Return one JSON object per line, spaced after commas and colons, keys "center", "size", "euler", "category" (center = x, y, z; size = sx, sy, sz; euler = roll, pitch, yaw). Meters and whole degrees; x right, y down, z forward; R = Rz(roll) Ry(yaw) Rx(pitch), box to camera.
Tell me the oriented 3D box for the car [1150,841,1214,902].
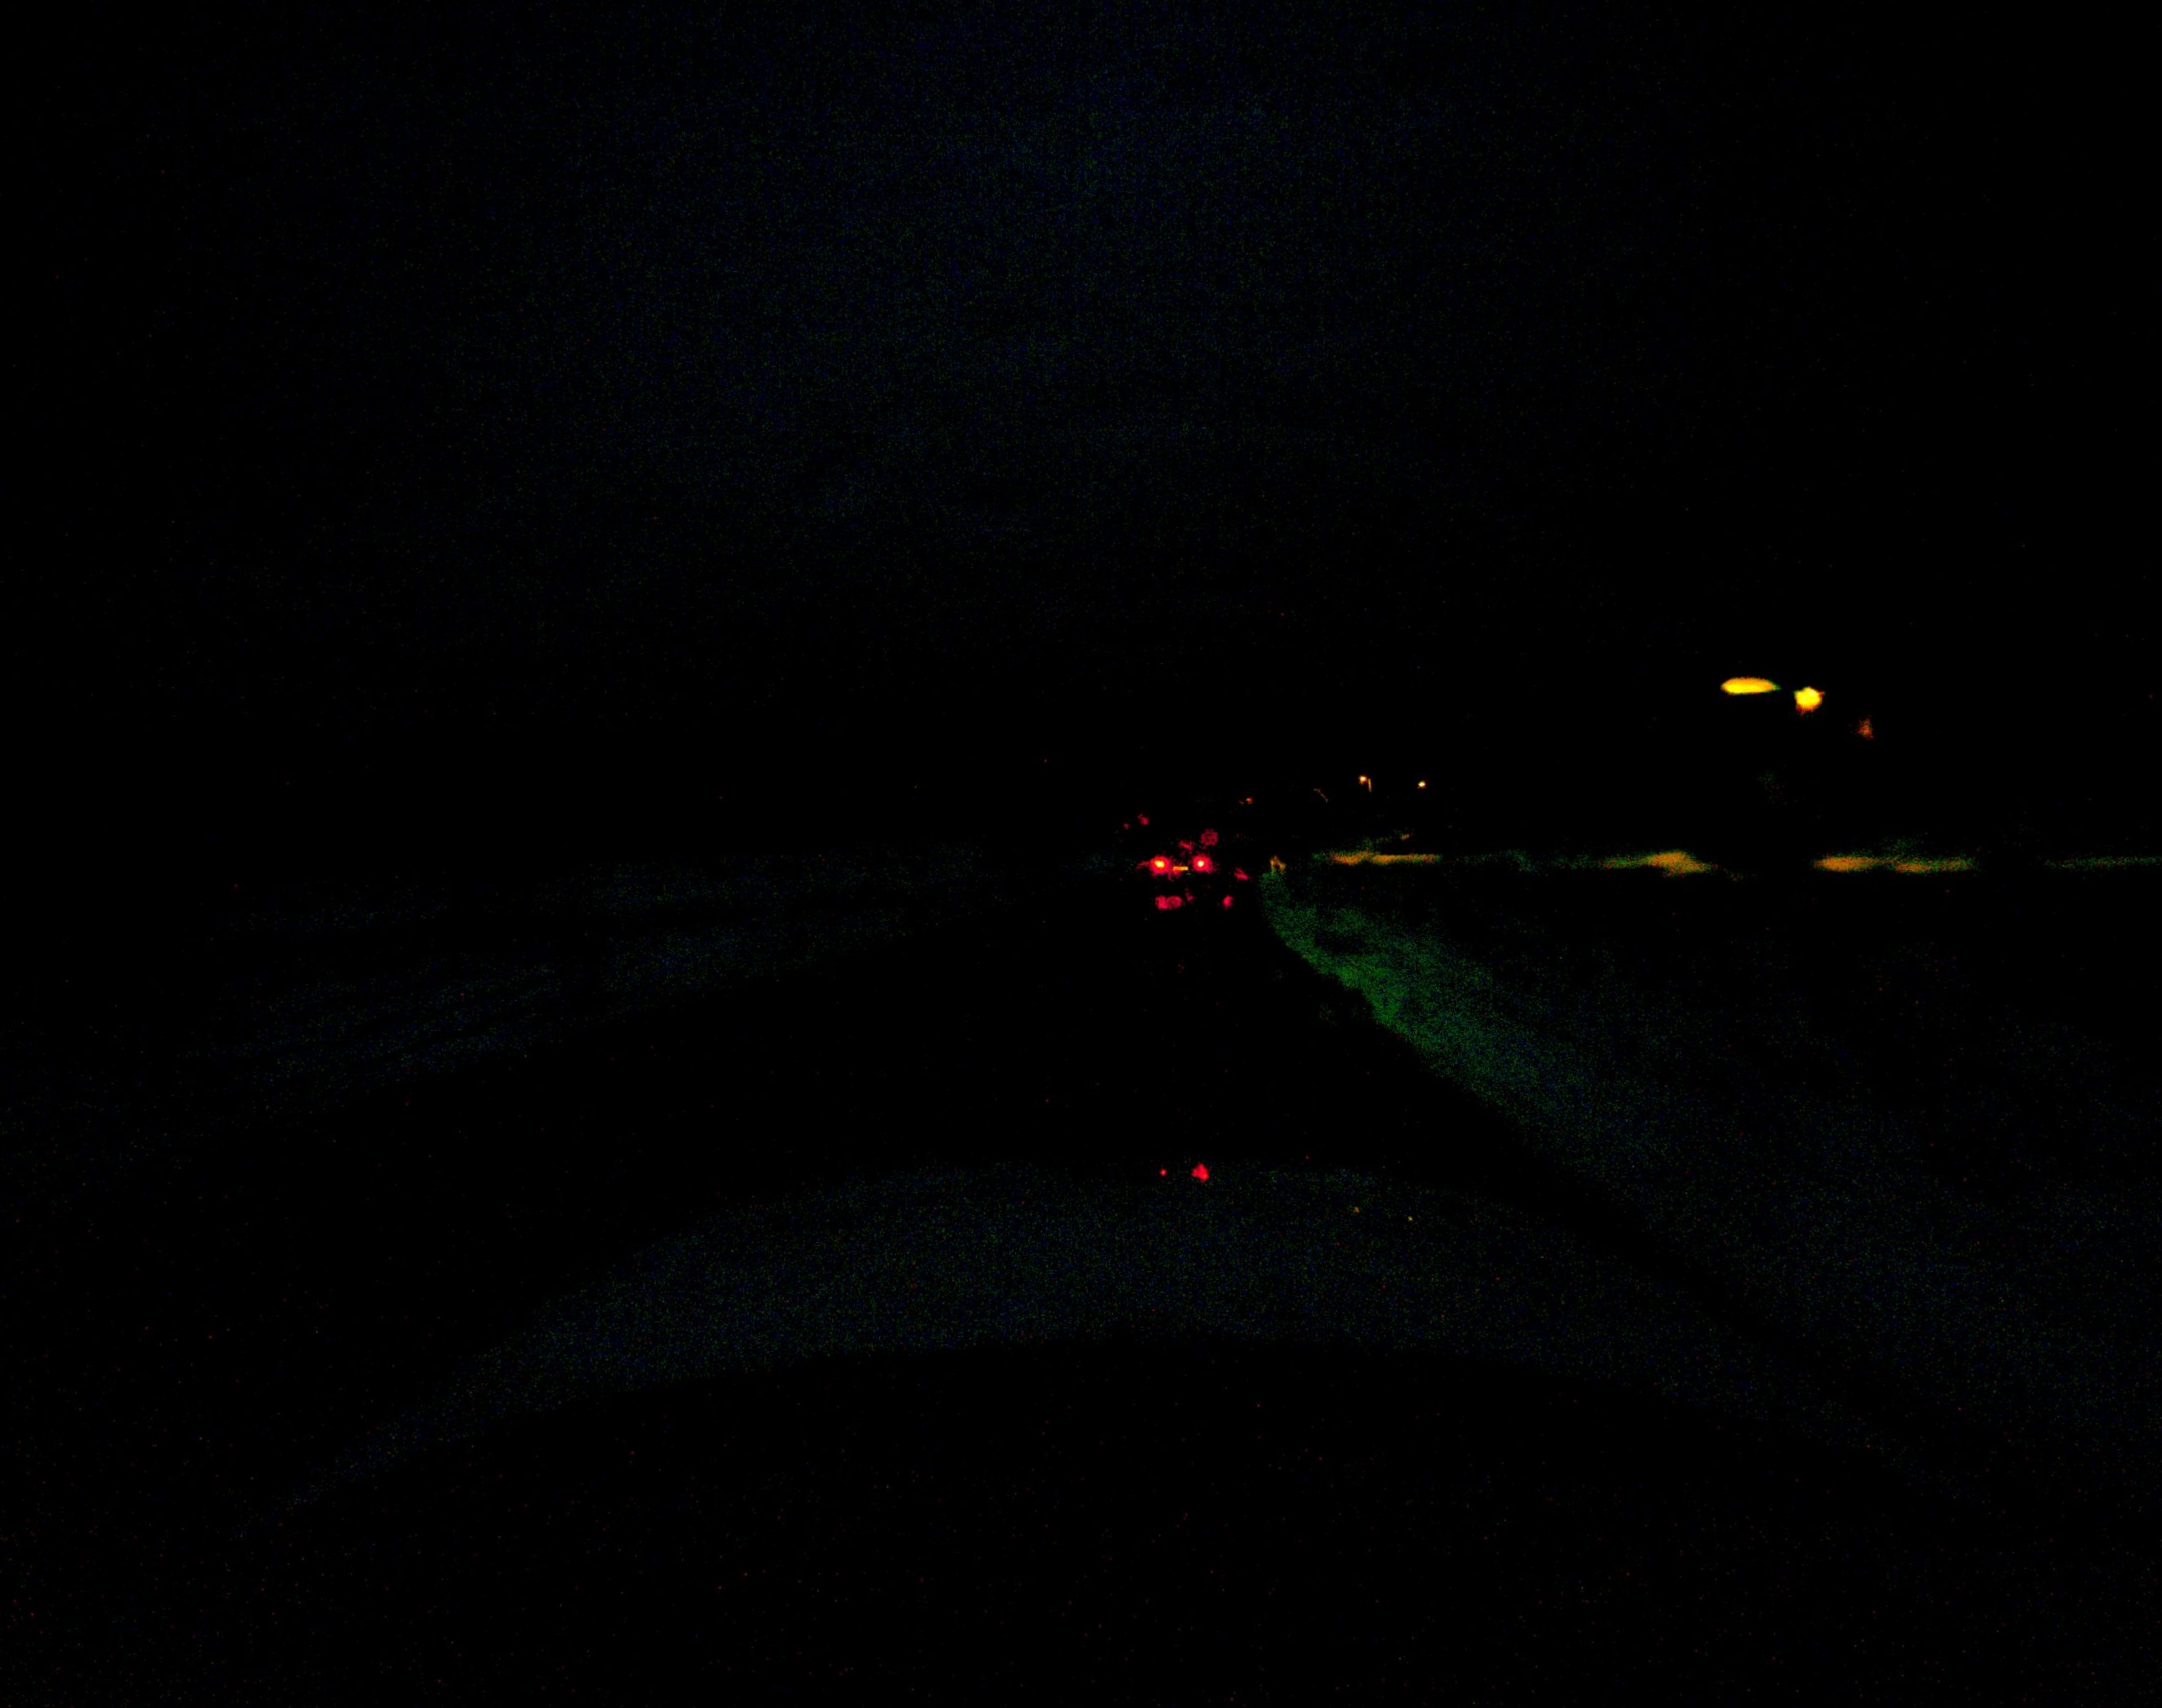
{"center": [3.323, 0.537, 27.308], "size": [1.814, 1.796, 3.582], "euler": [-4, 0, 4], "category": "car"}
